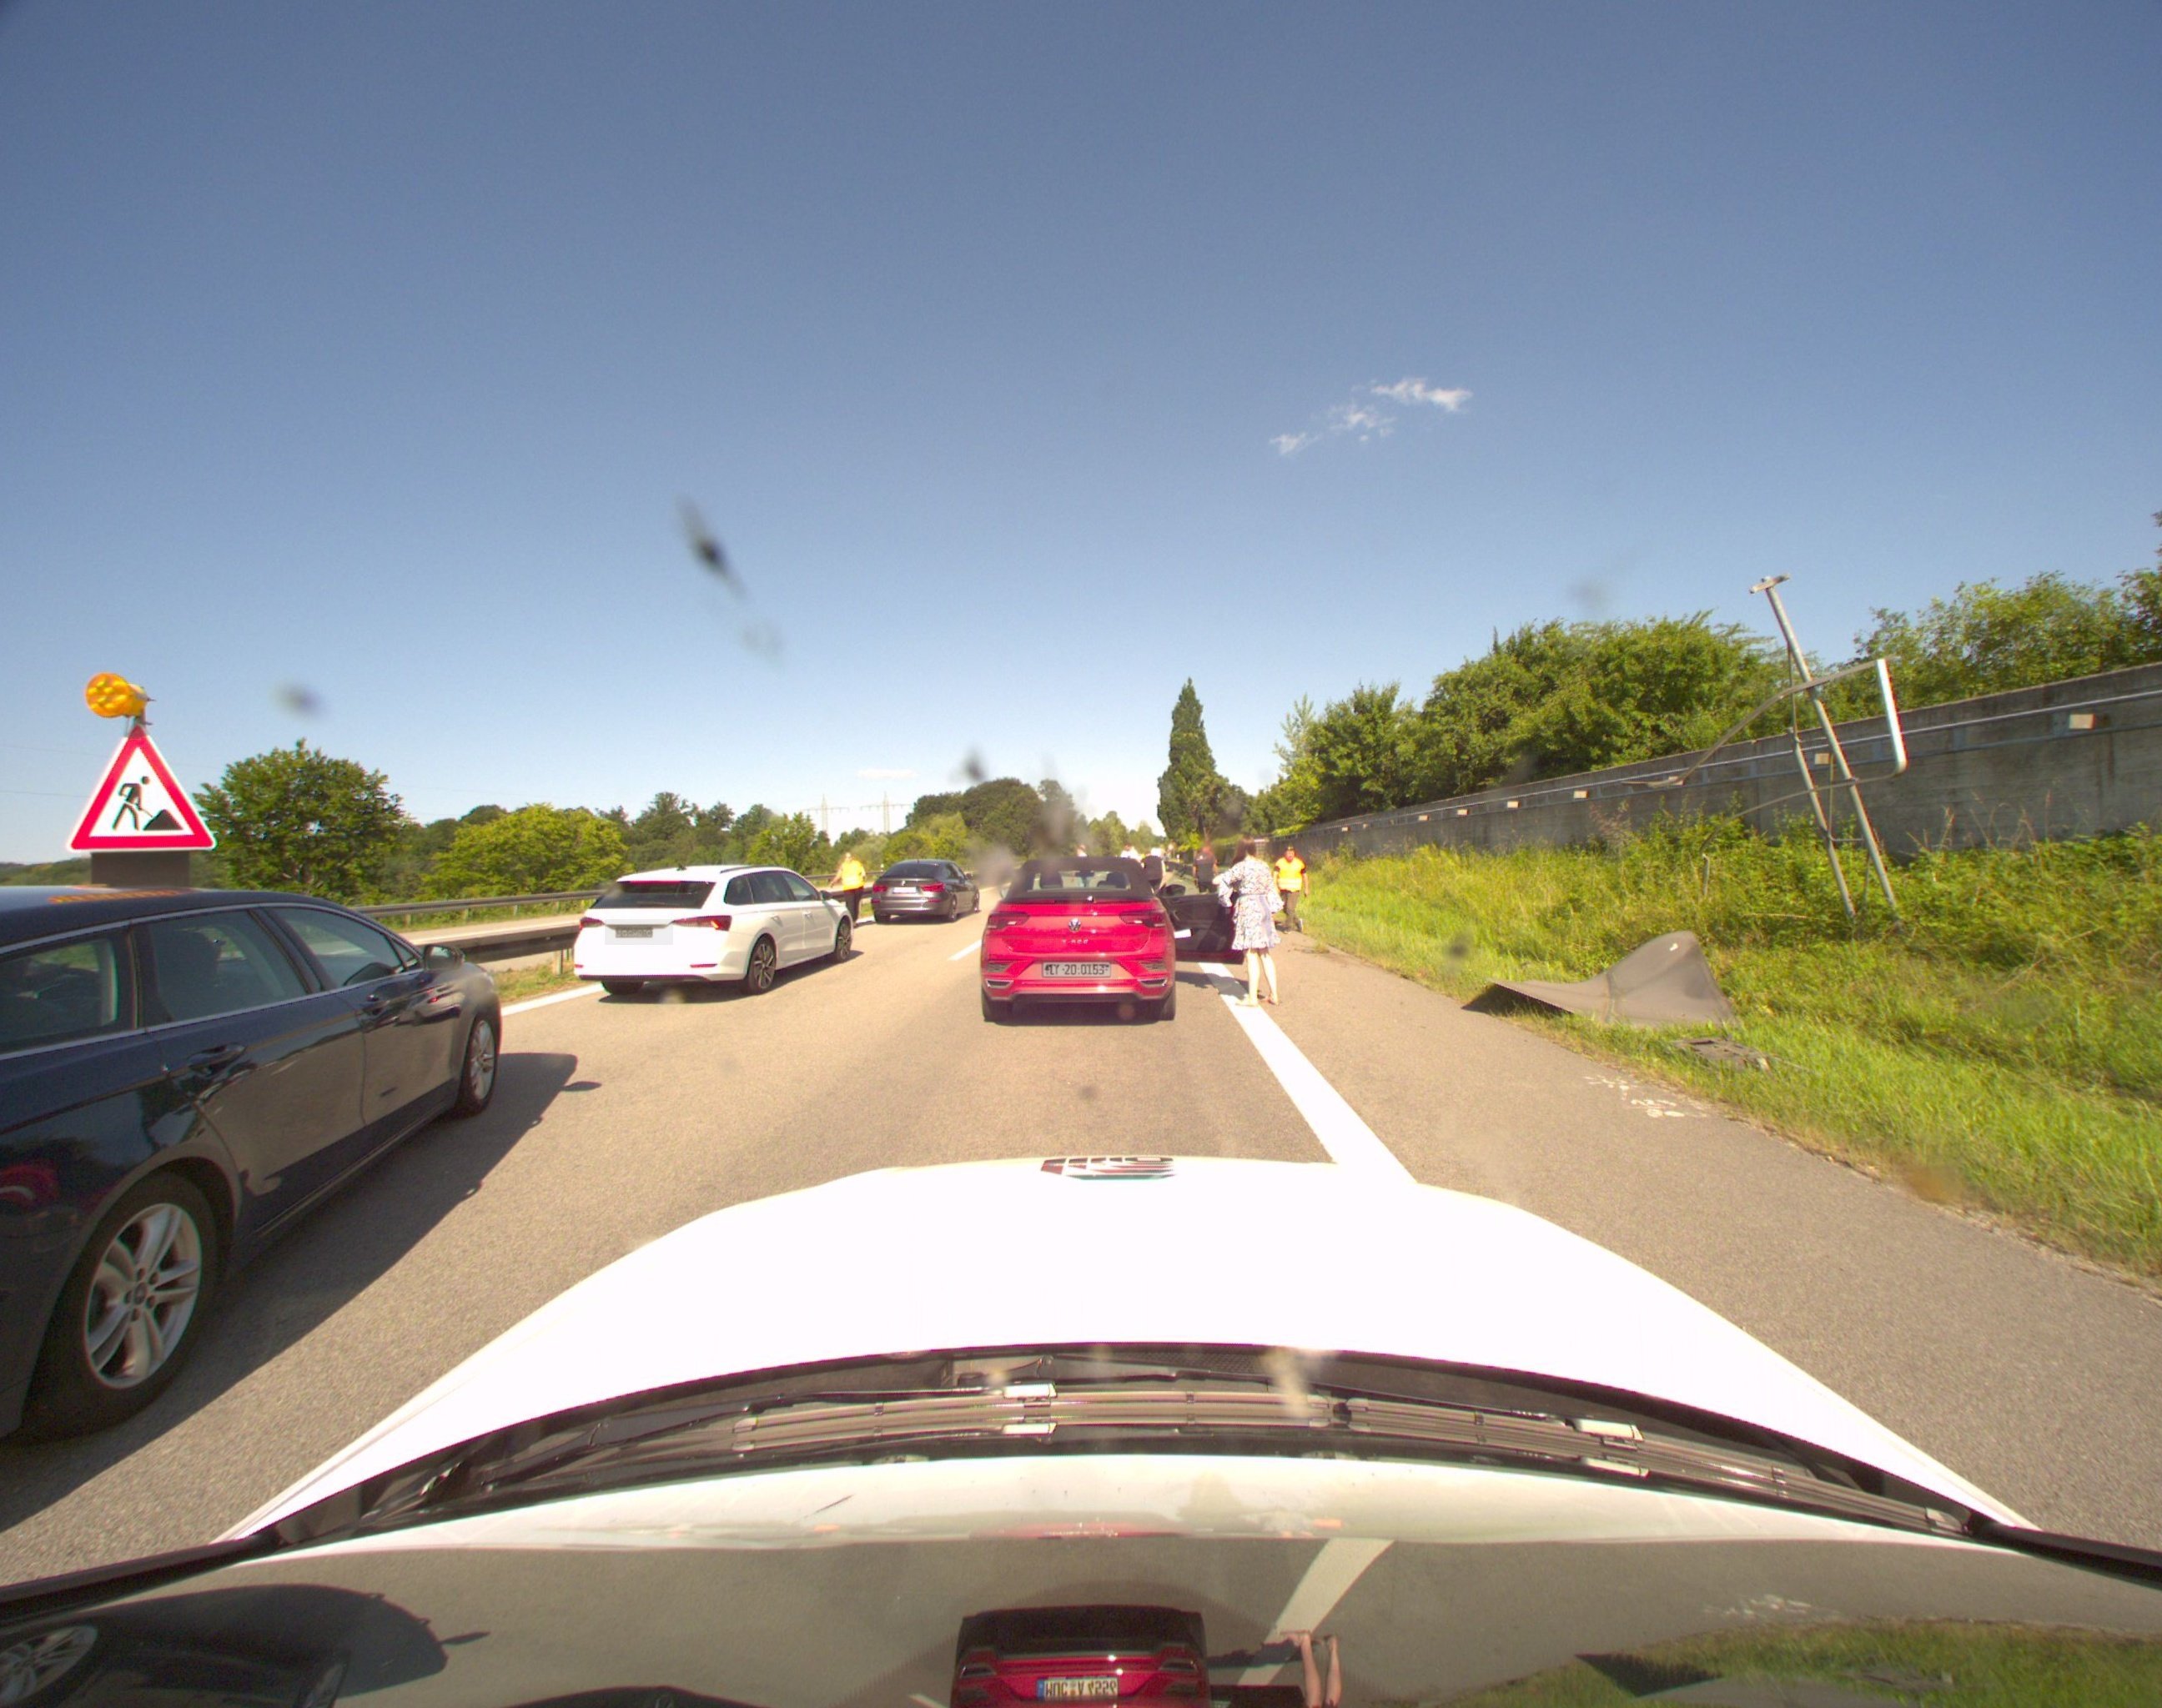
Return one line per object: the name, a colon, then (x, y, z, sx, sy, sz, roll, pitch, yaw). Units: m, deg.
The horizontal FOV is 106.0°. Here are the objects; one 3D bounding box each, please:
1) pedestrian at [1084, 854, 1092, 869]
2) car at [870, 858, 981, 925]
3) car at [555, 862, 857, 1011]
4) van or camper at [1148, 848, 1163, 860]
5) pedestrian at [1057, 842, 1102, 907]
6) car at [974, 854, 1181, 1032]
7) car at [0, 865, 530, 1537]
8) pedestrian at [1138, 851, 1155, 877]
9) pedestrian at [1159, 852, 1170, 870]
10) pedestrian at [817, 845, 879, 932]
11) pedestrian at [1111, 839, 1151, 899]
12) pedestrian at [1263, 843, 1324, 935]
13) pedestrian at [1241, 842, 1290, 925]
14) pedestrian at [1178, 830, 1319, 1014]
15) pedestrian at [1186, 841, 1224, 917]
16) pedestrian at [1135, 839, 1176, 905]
pedestrian: (0.754, 0.867, 92.453, 0.787, 1.689, 0.794, -1, -1, 7)
car: (-3.682, 0.837, 20.062, 1.688, 1.426, 4.337, -1, 0, 3)
car: (-4.349, 0.846, 10.279, 1.688, 1.441, 4.213, -1, 0, 3)
van or camper: (14.762, 0.045, 160.815, 1.978, 2.316, 4.491, -1, -1, 18)
pedestrian: (-0.031, 0.574, 23.180, 1.098, 1.789, 1.094, -1, -1, 8)
car: (0.066, 0.750, 8.943, 1.725, 1.487, 4.213, -1, 0, 3)
car: (-3.803, 0.826, 3.041, 1.794, 1.493, 4.463, -1, -1, -20)
pedestrian: (4.343, 0.667, 54.026, 1.049, 1.689, 1.020, -1, -1, 9)
pedestrian: (8.019, 0.699, 78.287, 0.991, 1.689, 1.012, 0, -1, 6)
pedestrian: (-5.007, 0.714, 17.437, 1.046, 1.763, 1.109, -2, 0, -26)
pedestrian: (1.653, 0.497, 27.104, 1.104, 1.912, 1.255, -2, 0, -5)
pedestrian: (4.049, 0.639, 15.592, 0.952, 1.653, 1.281, -2, 0, 9)
pedestrian: (3.911, 0.617, 17.315, 0.891, 1.725, 0.755, 0, -1, 4)
pedestrian: (1.672, 0.639, 8.284, 0.893, 1.695, 1.121, -2, 0, -20)
pedestrian: (2.934, 0.585, 19.223, 0.806, 1.759, 0.831, 0, -1, 12)
pedestrian: (2.206, 0.513, 24.210, 1.086, 1.883, 1.069, -2, 0, 1)
